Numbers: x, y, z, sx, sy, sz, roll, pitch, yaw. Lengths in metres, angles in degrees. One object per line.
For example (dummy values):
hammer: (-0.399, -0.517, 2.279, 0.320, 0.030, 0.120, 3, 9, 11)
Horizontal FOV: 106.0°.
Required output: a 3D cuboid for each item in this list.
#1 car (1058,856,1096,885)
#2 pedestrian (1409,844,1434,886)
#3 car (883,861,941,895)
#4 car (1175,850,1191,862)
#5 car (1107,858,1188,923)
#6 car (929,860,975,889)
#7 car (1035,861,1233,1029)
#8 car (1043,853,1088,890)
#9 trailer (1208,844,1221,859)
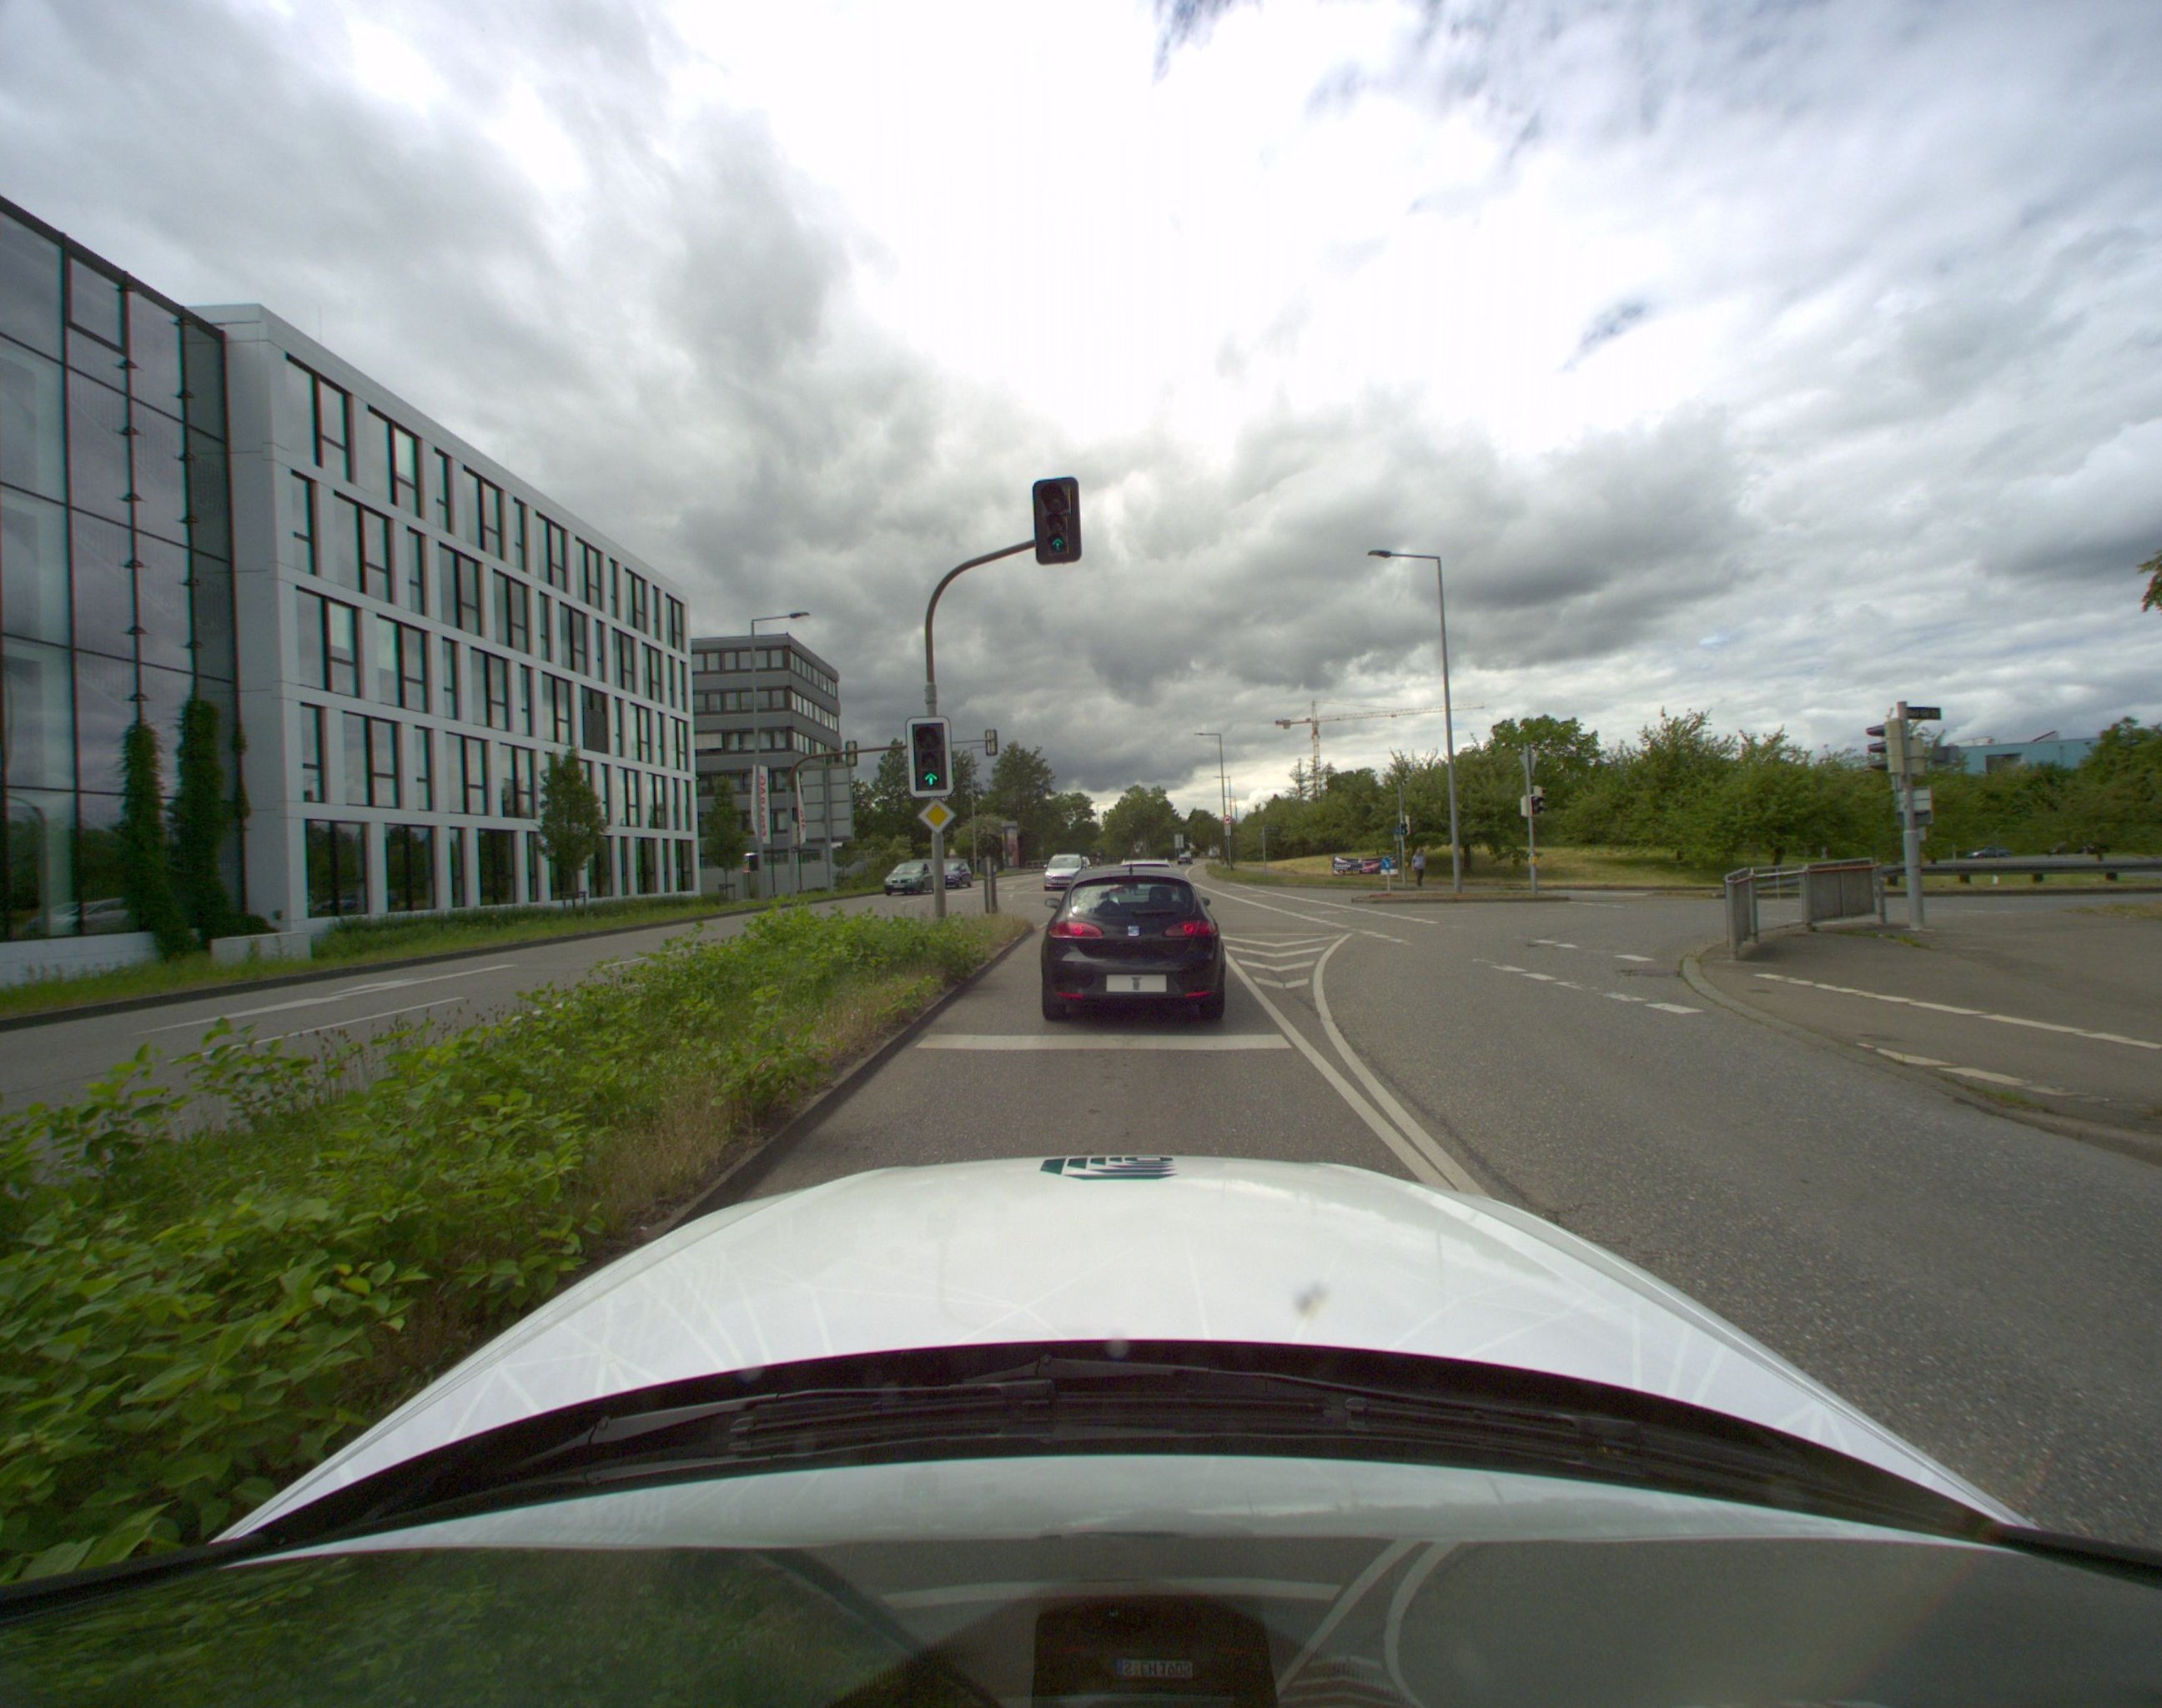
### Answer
car: (-0.176, 0.882, 45.797, 1.652, 1.518, 4.091, -1, 0, 6)
pedestrian: (14.792, 0.492, 35.390, 0.714, 1.793, 1.045, -1, -1, 5)
car: (-7.633, 1.058, 37.124, 1.598, 1.432, 3.756, -1, 0, 4)
car: (13.910, 0.250, 111.127, 1.982, 1.565, 4.481, -2, 0, 8)
car: (1.617, 0.855, 20.409, 1.827, 1.467, 3.754, -1, -1, 3)
car: (-6.924, 1.076, 44.028, 1.546, 1.419, 3.901, -1, 0, 5)
car: (0.514, 0.808, 8.821, 1.705, 1.417, 3.460, -1, 0, 2)
car: (-0.706, 0.786, 39.807, 1.812, 1.686, 4.649, -1, 0, 3)
trailer: (27.236, -0.443, 166.130, 2.475, 3.073, 5.604, -1, -1, 11)
